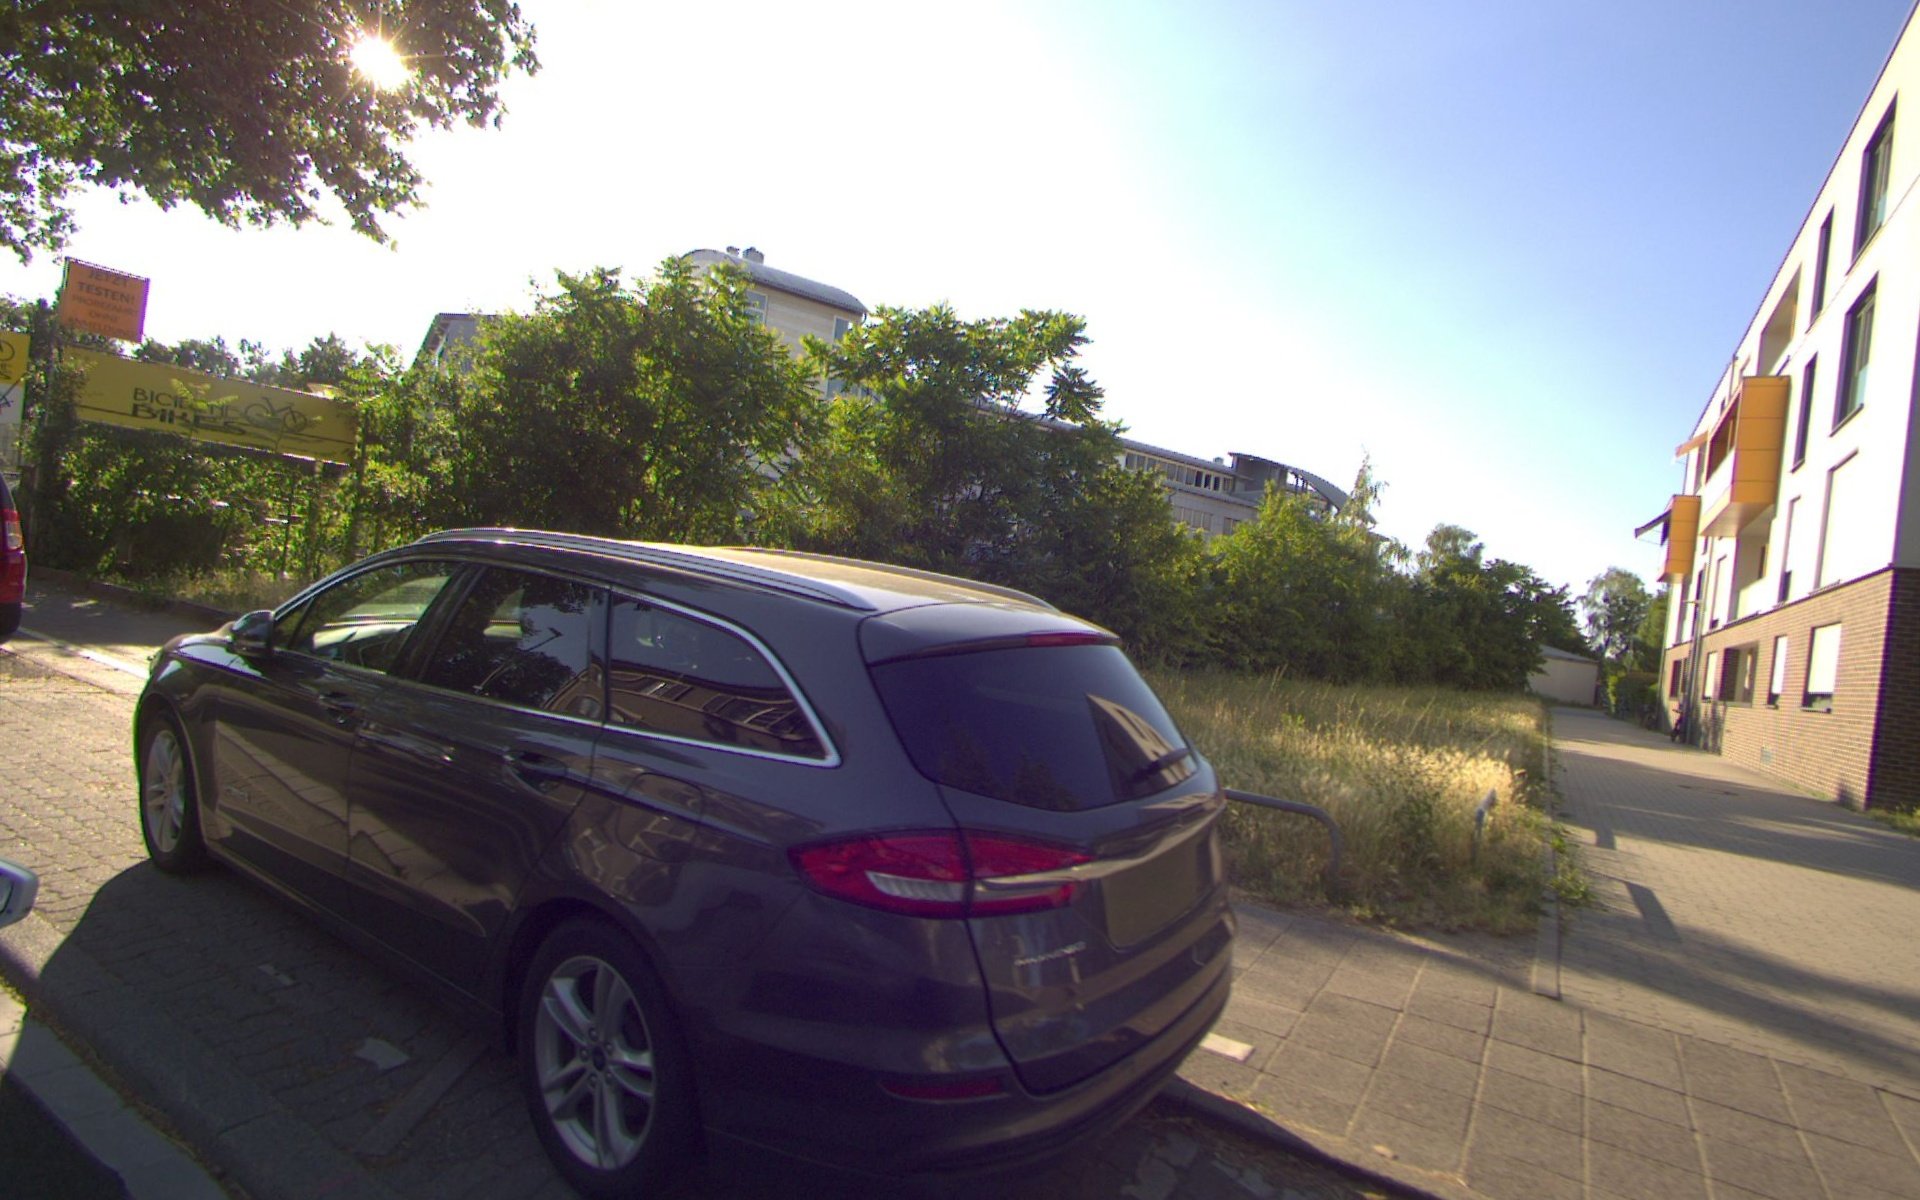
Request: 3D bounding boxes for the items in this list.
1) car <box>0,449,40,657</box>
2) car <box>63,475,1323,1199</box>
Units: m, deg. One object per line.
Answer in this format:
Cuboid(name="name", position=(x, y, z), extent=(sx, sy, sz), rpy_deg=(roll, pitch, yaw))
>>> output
Cuboid(name="car", position=(-10.011, -0.632, 8.932), extent=(4.265, 1.711, 1.599), rpy_deg=(7, 1, 33))
Cuboid(name="car", position=(-1.354, 0.483, 3.621), extent=(4.621, 1.501, 1.699), rpy_deg=(7, 2, 34))
